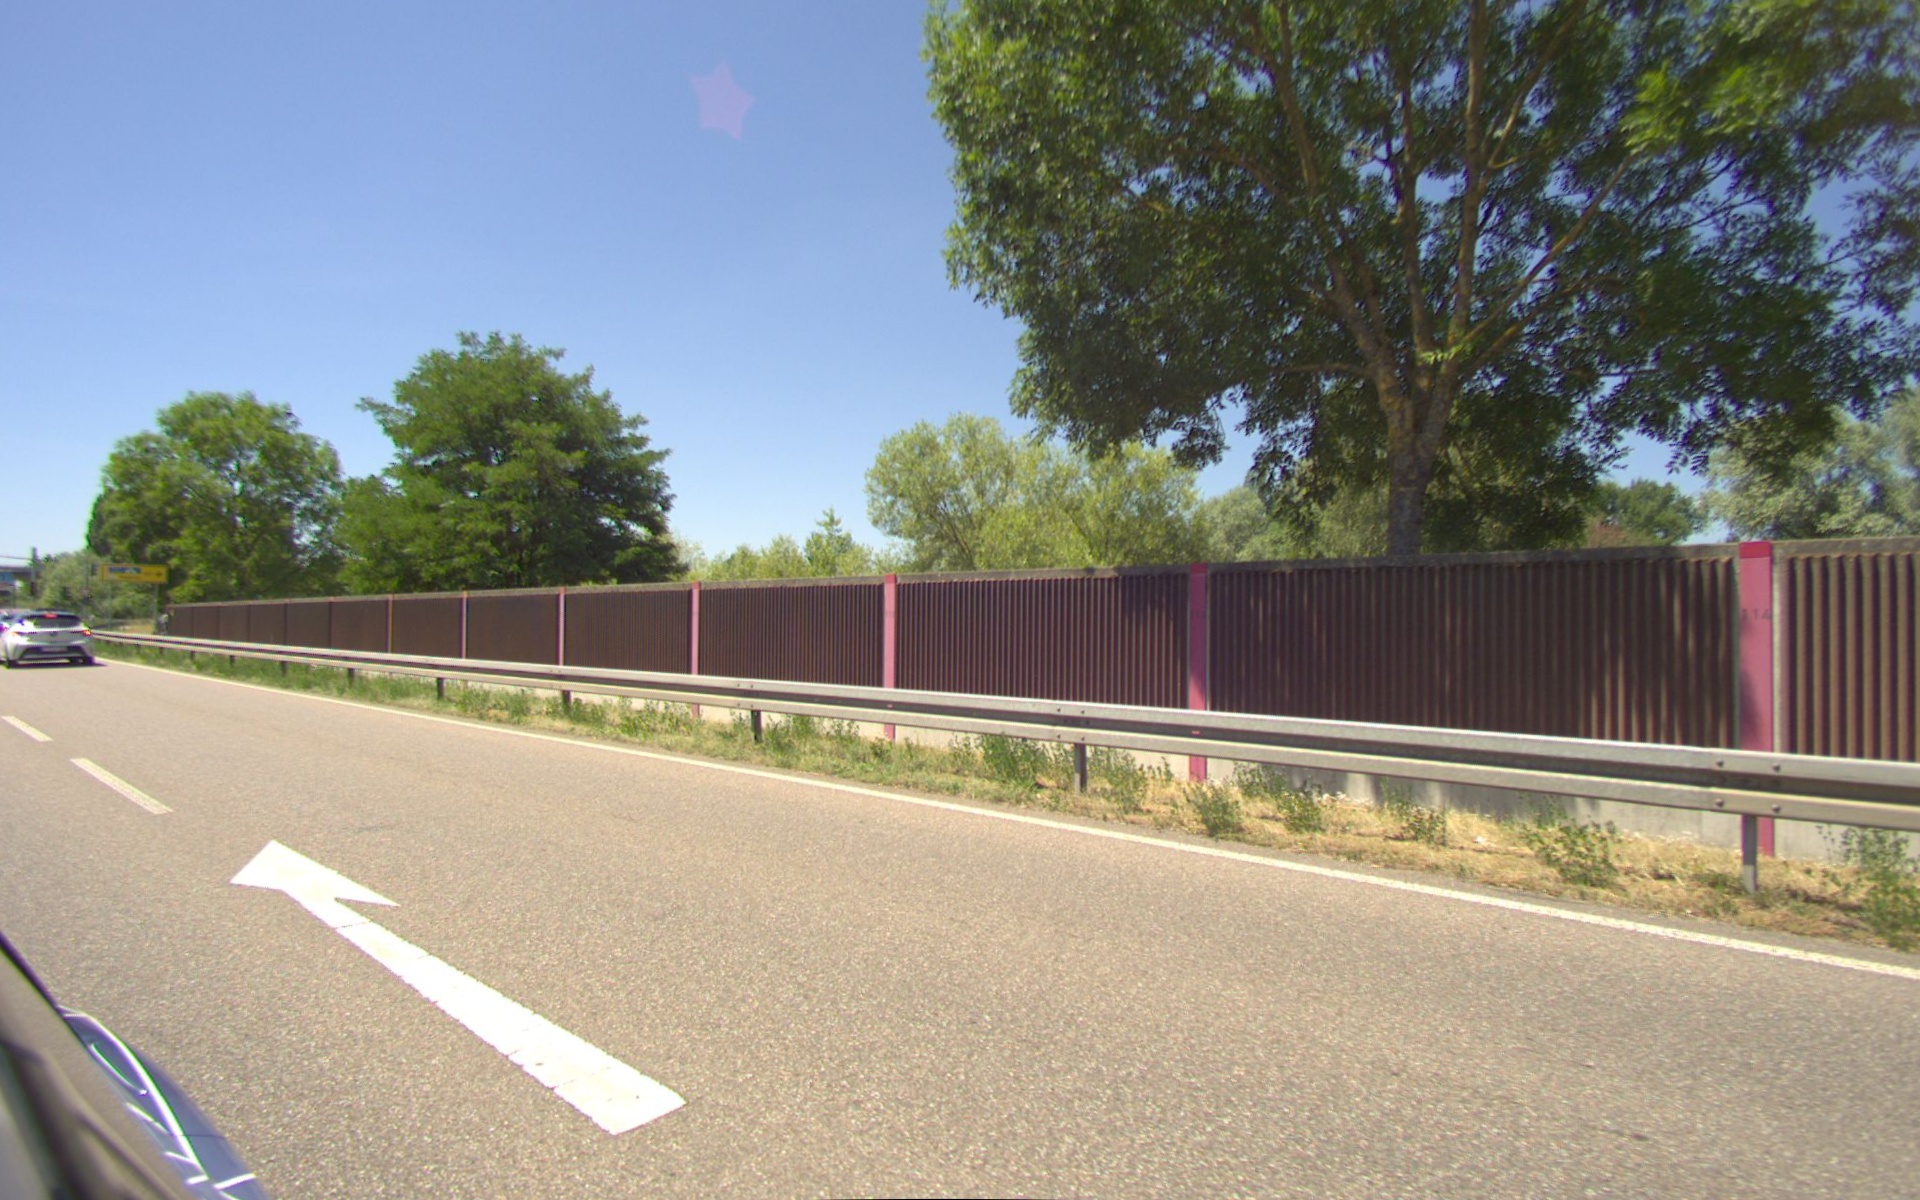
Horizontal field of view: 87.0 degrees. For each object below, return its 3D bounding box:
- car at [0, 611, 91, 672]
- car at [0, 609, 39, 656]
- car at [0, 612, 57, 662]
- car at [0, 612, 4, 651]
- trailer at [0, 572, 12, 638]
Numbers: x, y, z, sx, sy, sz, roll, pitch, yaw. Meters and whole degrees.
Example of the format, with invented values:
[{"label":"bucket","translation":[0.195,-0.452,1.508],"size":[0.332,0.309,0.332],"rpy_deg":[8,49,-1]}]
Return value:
[{"label":"car","translation":[-24.817,1.063,27.197],"size":[4.615,1.471,1.667],"rpy_deg":[-1,0,43]},{"label":"car","translation":[-35.493,1.195,37.558],"size":[4.281,1.644,1.735],"rpy_deg":[-1,-1,45]},{"label":"car","translation":[-30.368,1.159,32.517],"size":[4.617,1.471,1.666],"rpy_deg":[-1,0,44]},{"label":"car","translation":[-41.674,1.337,42.788],"size":[1.697,1.601,4.537],"rpy_deg":[0,-1,-45]},{"label":"trailer","translation":[-64.947,0.392,66.707],"size":[14.124,4.075,2.660],"rpy_deg":[-1,0,43]}]
